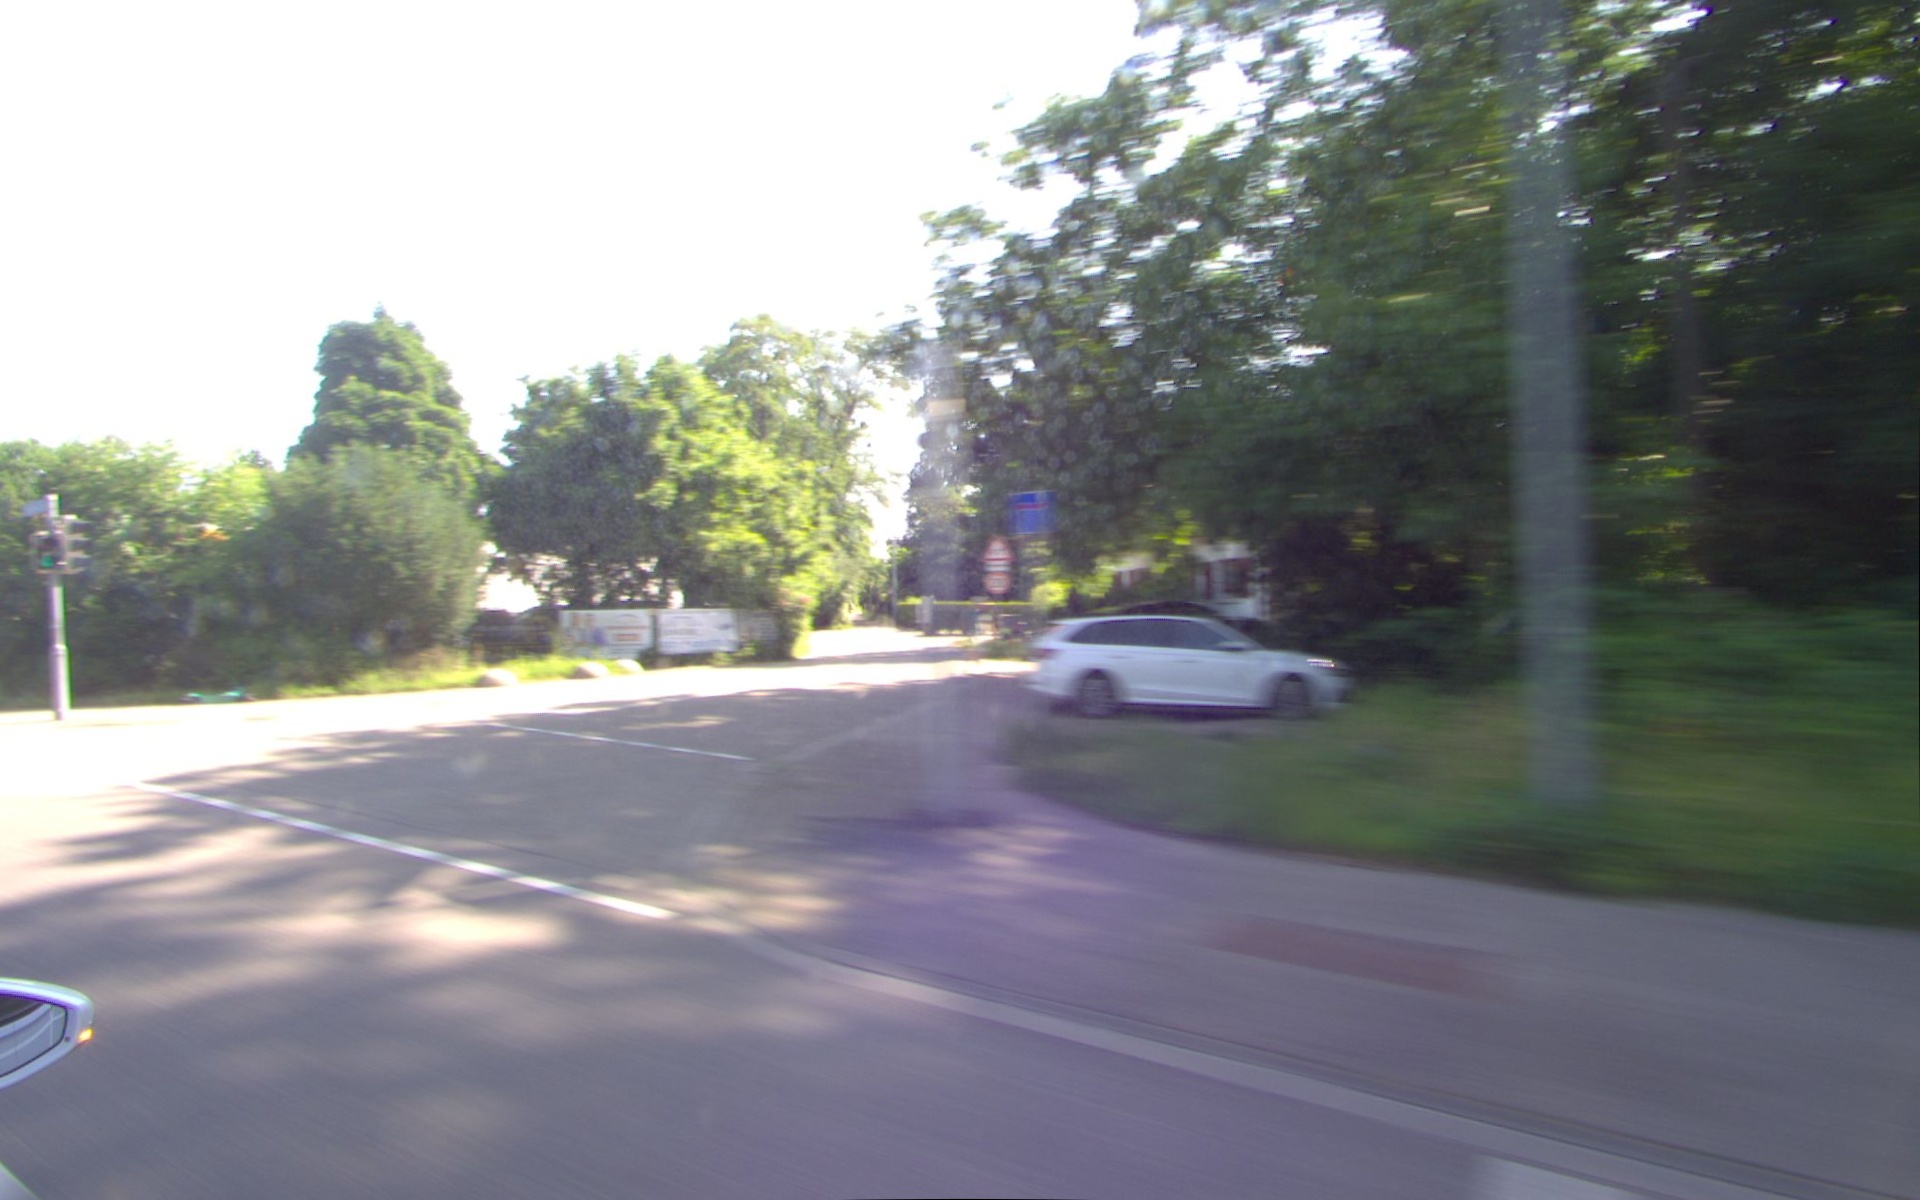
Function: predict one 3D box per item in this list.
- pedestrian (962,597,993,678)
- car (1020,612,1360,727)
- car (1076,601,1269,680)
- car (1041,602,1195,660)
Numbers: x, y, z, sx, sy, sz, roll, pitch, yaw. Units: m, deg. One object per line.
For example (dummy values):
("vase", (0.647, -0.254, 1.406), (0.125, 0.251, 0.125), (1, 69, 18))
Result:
("pedestrian", (0.358, 0.769, 20.638), (0.598, 1.651, 0.414), (-1, 1, -2))
("car", (3.247, 0.964, 14.522), (4.529, 1.483, 1.627), (-1, 1, 13))
("car", (4.459, 0.788, 20.960), (3.730, 1.483, 1.622), (-1, 1, -25))
("car", (4.268, 0.825, 27.442), (3.910, 1.483, 1.628), (-1, 1, -2))
